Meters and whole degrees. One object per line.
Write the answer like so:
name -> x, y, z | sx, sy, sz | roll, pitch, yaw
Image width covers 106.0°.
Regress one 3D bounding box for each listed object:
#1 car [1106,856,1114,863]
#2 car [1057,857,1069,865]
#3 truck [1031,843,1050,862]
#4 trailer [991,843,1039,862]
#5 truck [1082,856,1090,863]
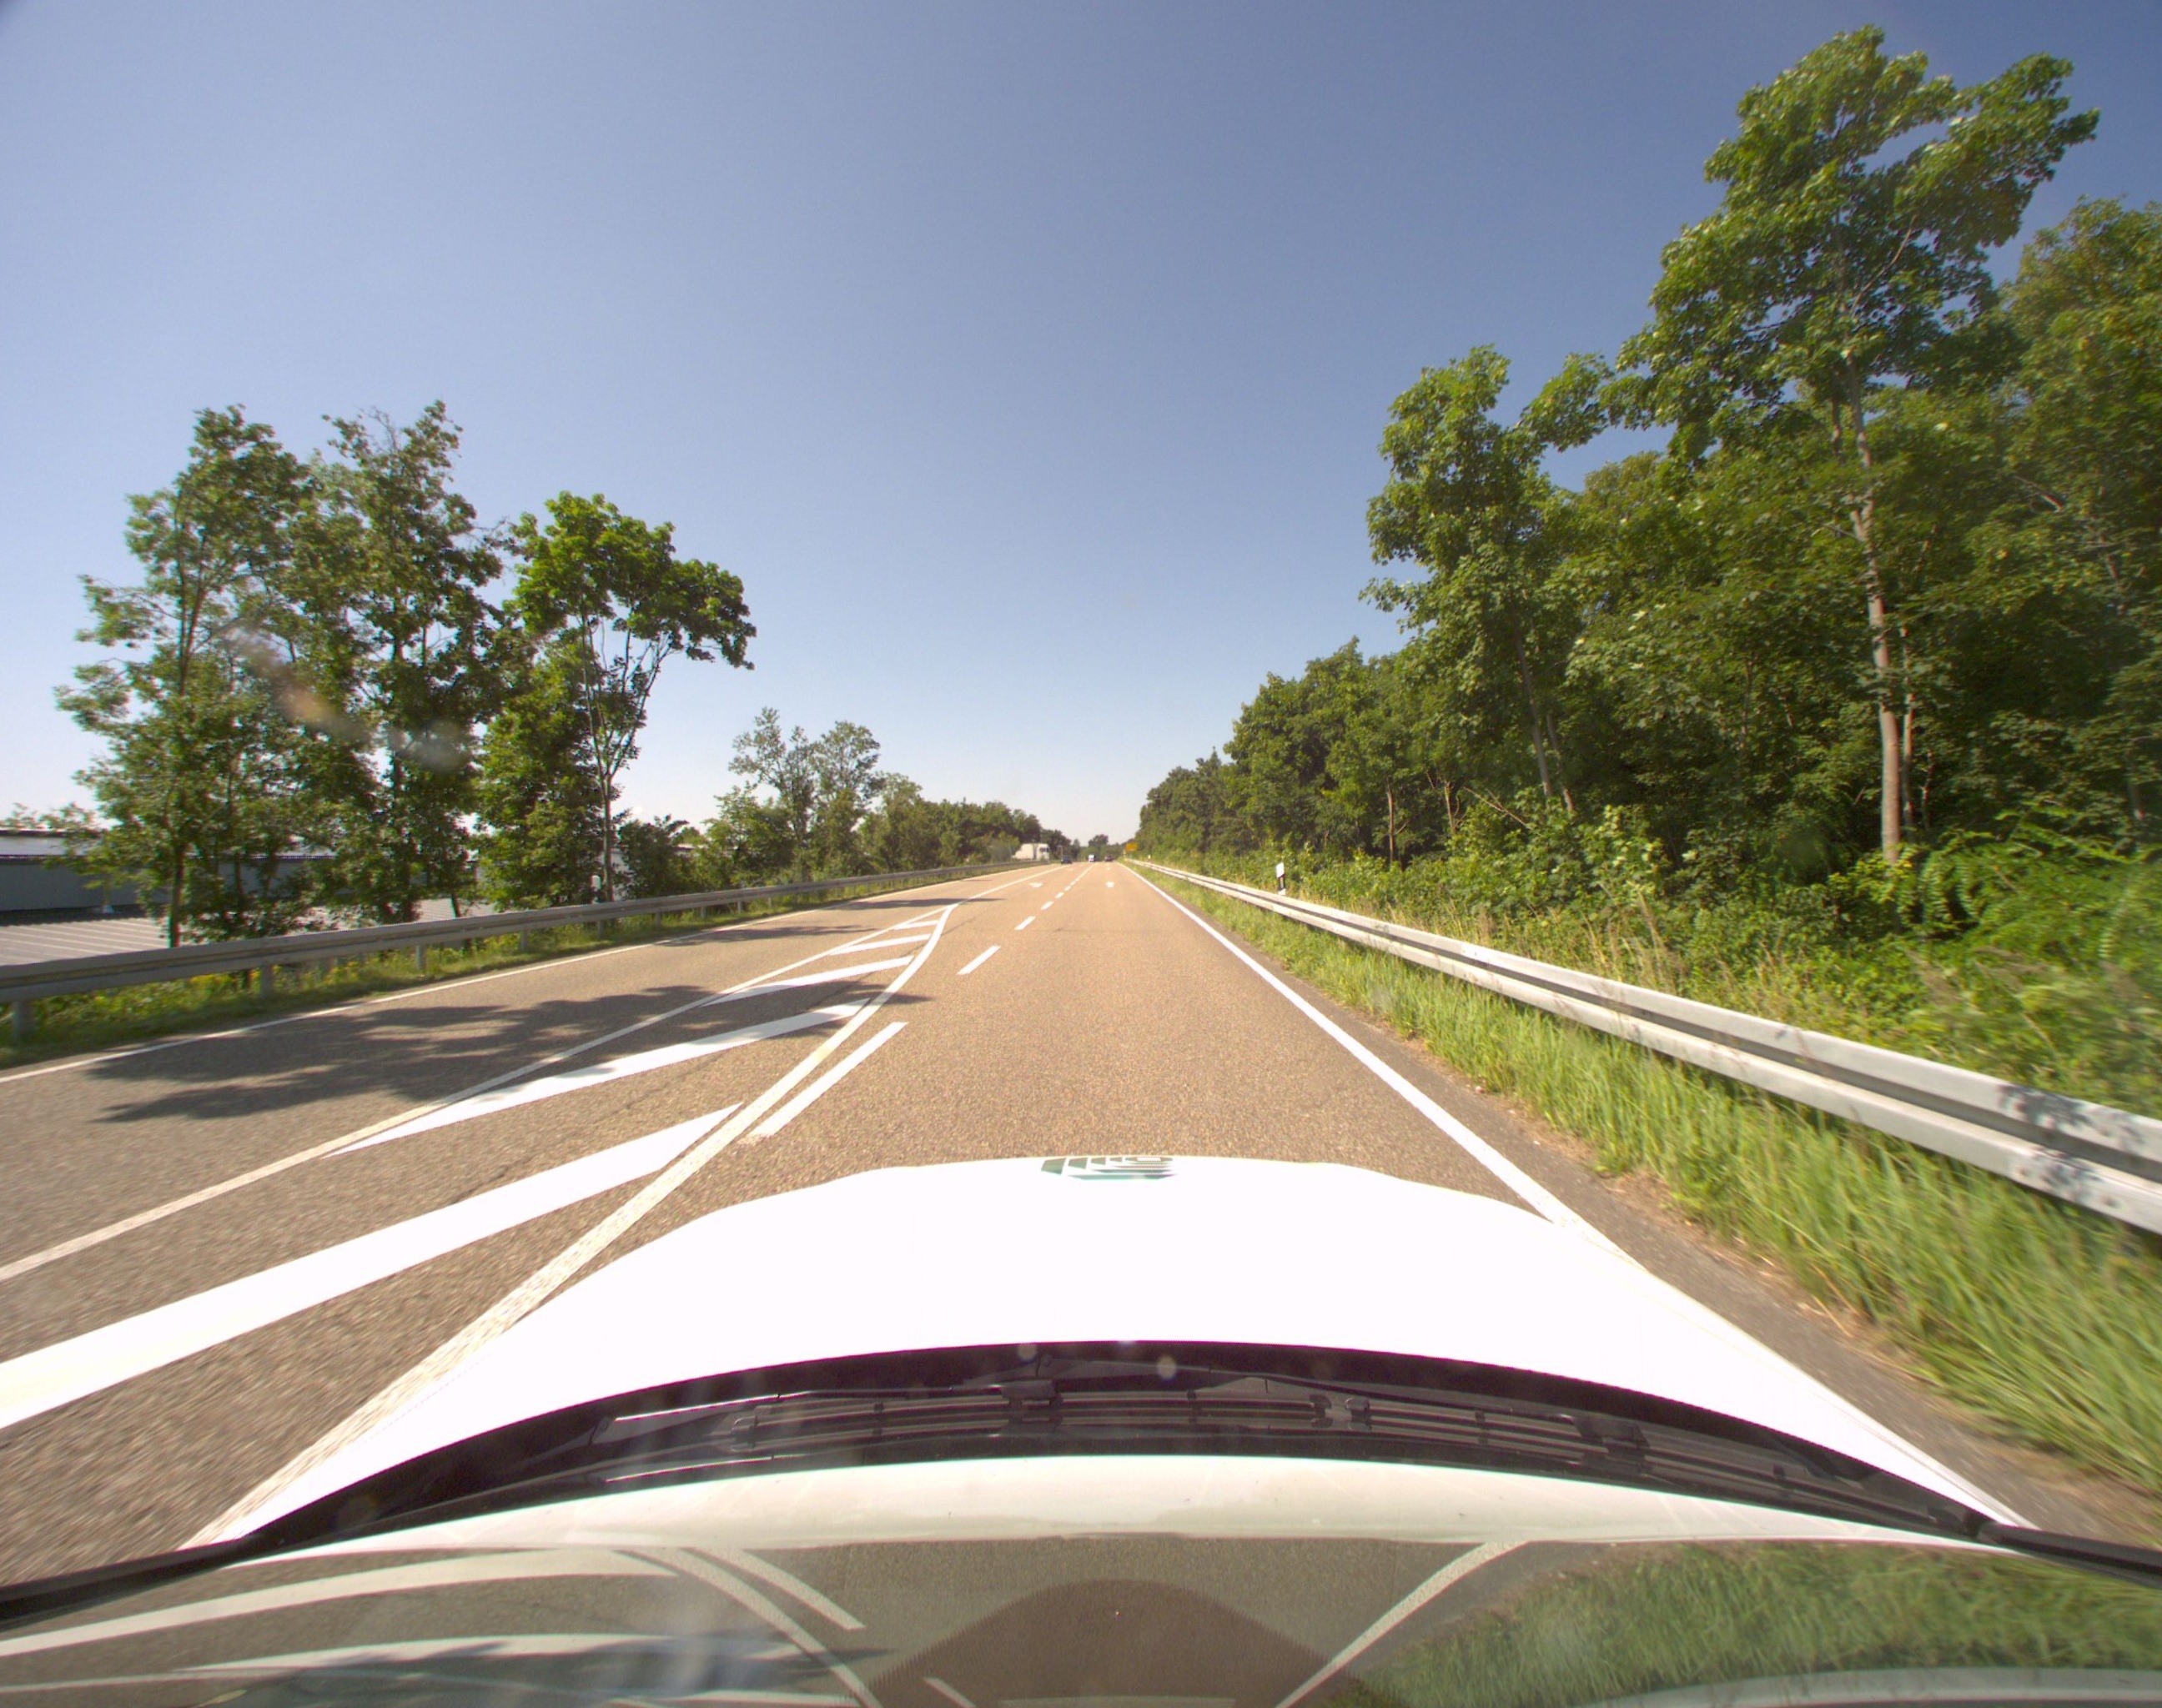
car -> 6.736, 1.302, 190.336 | 1.734, 1.470, 3.694 | -1, 0, 2
car -> -2.992, 1.138, 135.789 | 1.724, 1.267, 3.907 | -1, 0, 2
truck -> -7.942, -0.305, 158.761 | 3.451, 3.537, 2.002 | -1, 0, 3
trailer -> -12.910, -0.230, 159.009 | 9.064, 3.578, 2.002 | -1, 0, 3
truck -> 1.043, 1.191, 170.382 | 1.606, 1.470, 3.992 | -1, 0, 2
